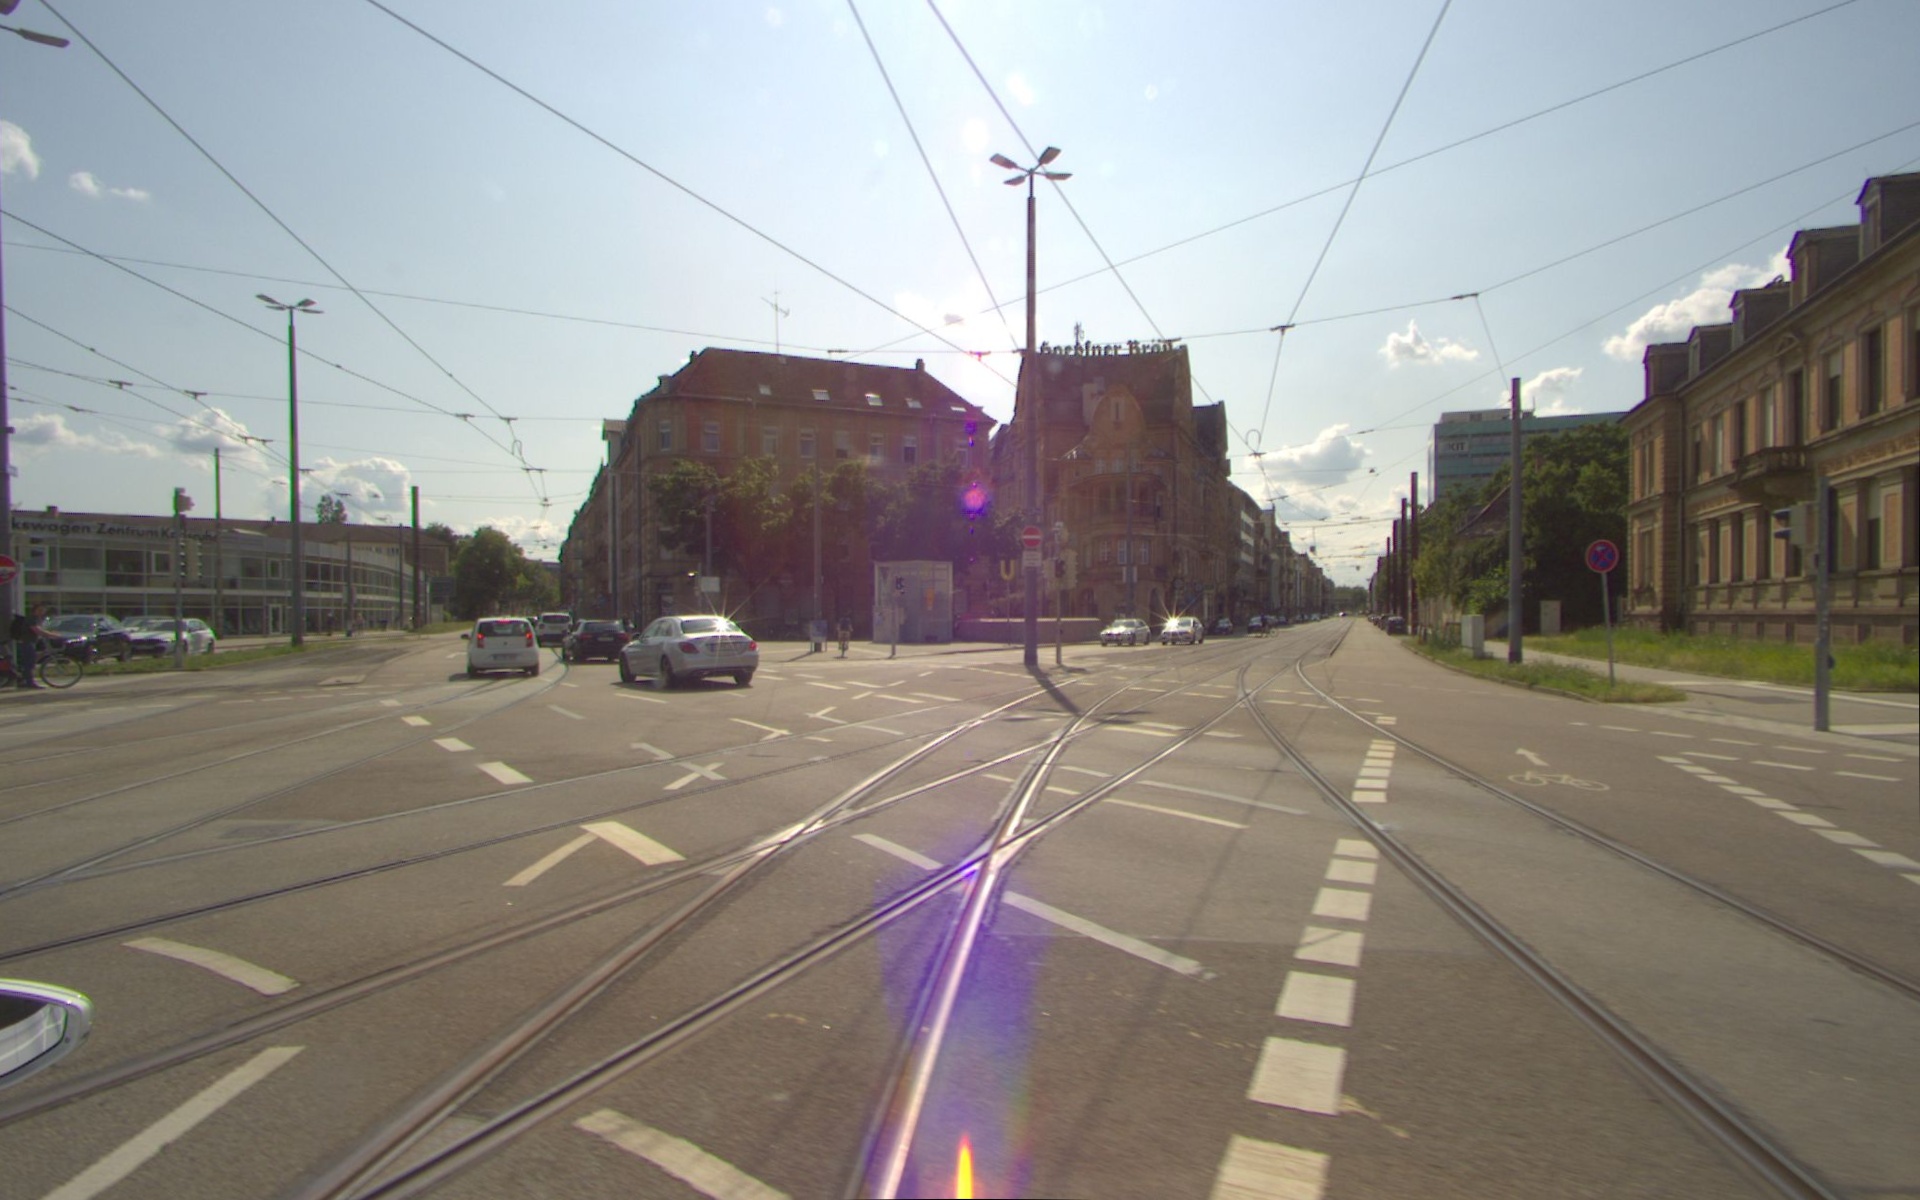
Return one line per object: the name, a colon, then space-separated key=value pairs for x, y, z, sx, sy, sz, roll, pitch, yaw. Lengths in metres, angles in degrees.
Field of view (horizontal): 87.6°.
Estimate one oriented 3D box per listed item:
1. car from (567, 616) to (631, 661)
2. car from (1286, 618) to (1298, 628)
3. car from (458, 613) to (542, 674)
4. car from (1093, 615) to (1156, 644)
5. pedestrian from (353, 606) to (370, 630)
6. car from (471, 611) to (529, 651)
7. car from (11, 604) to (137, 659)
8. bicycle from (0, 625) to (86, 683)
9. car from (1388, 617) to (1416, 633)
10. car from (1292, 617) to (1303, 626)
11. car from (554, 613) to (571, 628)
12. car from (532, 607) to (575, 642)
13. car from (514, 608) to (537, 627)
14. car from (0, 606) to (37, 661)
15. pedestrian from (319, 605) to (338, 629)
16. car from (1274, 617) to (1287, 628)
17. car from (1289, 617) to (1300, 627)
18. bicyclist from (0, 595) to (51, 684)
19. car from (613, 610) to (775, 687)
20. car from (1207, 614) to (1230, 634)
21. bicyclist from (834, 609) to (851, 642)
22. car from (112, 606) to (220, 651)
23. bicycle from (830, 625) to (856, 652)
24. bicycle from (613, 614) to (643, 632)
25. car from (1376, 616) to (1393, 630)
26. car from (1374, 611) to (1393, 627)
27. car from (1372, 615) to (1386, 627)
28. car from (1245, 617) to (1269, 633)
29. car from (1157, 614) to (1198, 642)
car: x=-12.221 y=1.241 z=33.768 sx=1.677 sy=1.390 sz=4.117 roll=0 pitch=0 yaw=-25
car: x=60.587 y=4.147 z=182.480 sx=1.965 sy=1.839 sz=3.993 roll=0 pitch=-1 yaw=20
car: x=-12.188 y=1.086 z=26.413 sx=1.631 sy=1.440 sz=3.978 roll=0 pitch=0 yaw=-31
car: x=9.045 y=1.597 z=54.842 sx=2.015 sy=1.448 sz=4.520 roll=-2 pitch=-2 yaw=29
pedestrian: x=-48.700 y=1.497 z=81.530 sx=0.861 sy=1.946 sz=0.876 roll=1 pitch=-1 yaw=-10
car: x=-17.398 y=1.164 z=37.995 sx=1.826 sy=1.437 sz=3.668 roll=1 pitch=-1 yaw=-22
car: x=-26.135 y=0.886 z=29.698 sx=1.667 sy=1.481 sz=3.954 roll=-1 pitch=0 yaw=-25
bicycle: x=-18.953 y=1.083 z=20.326 sx=1.762 sy=1.140 sz=0.635 roll=1 pitch=0 yaw=-36
car: x=38.959 y=2.209 z=88.165 sx=1.969 sy=1.394 sz=3.985 roll=0 pitch=-1 yaw=28
car: x=69.228 y=4.423 z=205.444 sx=1.965 sy=1.839 sz=3.993 roll=0 pitch=-1 yaw=20
car: x=-47.695 y=2.475 z=120.092 sx=1.812 sy=1.673 sz=3.989 roll=1 pitch=-2 yaw=-22
car: x=-20.308 y=1.225 z=49.956 sx=1.814 sy=1.673 sz=3.986 roll=1 pitch=-2 yaw=-25
car: x=-39.865 y=1.647 z=91.957 sx=1.812 sy=1.673 sz=3.989 roll=1 pitch=-2 yaw=-22
car: x=-28.464 y=0.982 z=28.536 sx=1.713 sy=1.594 sz=3.990 roll=-1 pitch=0 yaw=-20
pedestrian: x=-48.394 y=1.315 z=76.740 sx=0.861 sy=1.759 sz=0.876 roll=1 pitch=-1 yaw=-7
car: x=53.679 y=3.746 z=167.653 sx=1.965 sy=1.839 sz=3.993 roll=0 pitch=-1 yaw=20
car: x=64.195 y=4.231 z=192.190 sx=1.965 sy=1.839 sz=3.993 roll=0 pitch=-1 yaw=20
bicyclist: x=-18.977 y=0.789 z=20.344 sx=0.653 sy=1.761 sz=0.635 roll=1 pitch=0 yaw=-35
car: x=-5.829 y=0.950 z=21.490 sx=1.912 sy=1.474 sz=4.727 roll=0 pitch=-1 yaw=-34
car: x=23.443 y=2.183 z=90.663 sx=1.691 sy=1.704 sz=3.920 roll=0 pitch=-1 yaw=20
bicyclist: x=-4.547 y=0.972 z=38.659 sx=0.625 sy=1.236 sz=0.923 roll=-1 pitch=1 yaw=-9
car: x=-28.540 y=0.995 z=36.141 sx=1.873 sy=1.481 sz=3.958 roll=-1 pitch=0 yaw=-20
bicycle: x=-4.524 y=1.467 z=38.615 sx=0.833 sy=0.983 sz=1.959 roll=-1 pitch=0 yaw=-10
bicycle: x=-14.501 y=0.989 z=43.747 sx=0.581 sy=0.786 sz=1.605 roll=0 pitch=0 yaw=-44
car: x=57.335 y=3.035 z=135.160 sx=1.967 sy=1.839 sz=3.988 roll=0 pitch=-1 yaw=25
car: x=49.361 y=2.201 z=116.667 sx=1.967 sy=1.839 sz=3.988 roll=0 pitch=-1 yaw=25
car: x=67.718 y=3.406 z=161.897 sx=1.967 sy=1.839 sz=3.988 roll=0 pitch=-1 yaw=25
car: x=27.750 y=2.322 z=93.514 sx=1.861 sy=1.438 sz=3.993 roll=0 pitch=-1 yaw=20
car: x=12.085 y=1.513 z=55.535 sx=1.955 sy=1.503 sz=3.995 roll=0 pitch=-1 yaw=16
